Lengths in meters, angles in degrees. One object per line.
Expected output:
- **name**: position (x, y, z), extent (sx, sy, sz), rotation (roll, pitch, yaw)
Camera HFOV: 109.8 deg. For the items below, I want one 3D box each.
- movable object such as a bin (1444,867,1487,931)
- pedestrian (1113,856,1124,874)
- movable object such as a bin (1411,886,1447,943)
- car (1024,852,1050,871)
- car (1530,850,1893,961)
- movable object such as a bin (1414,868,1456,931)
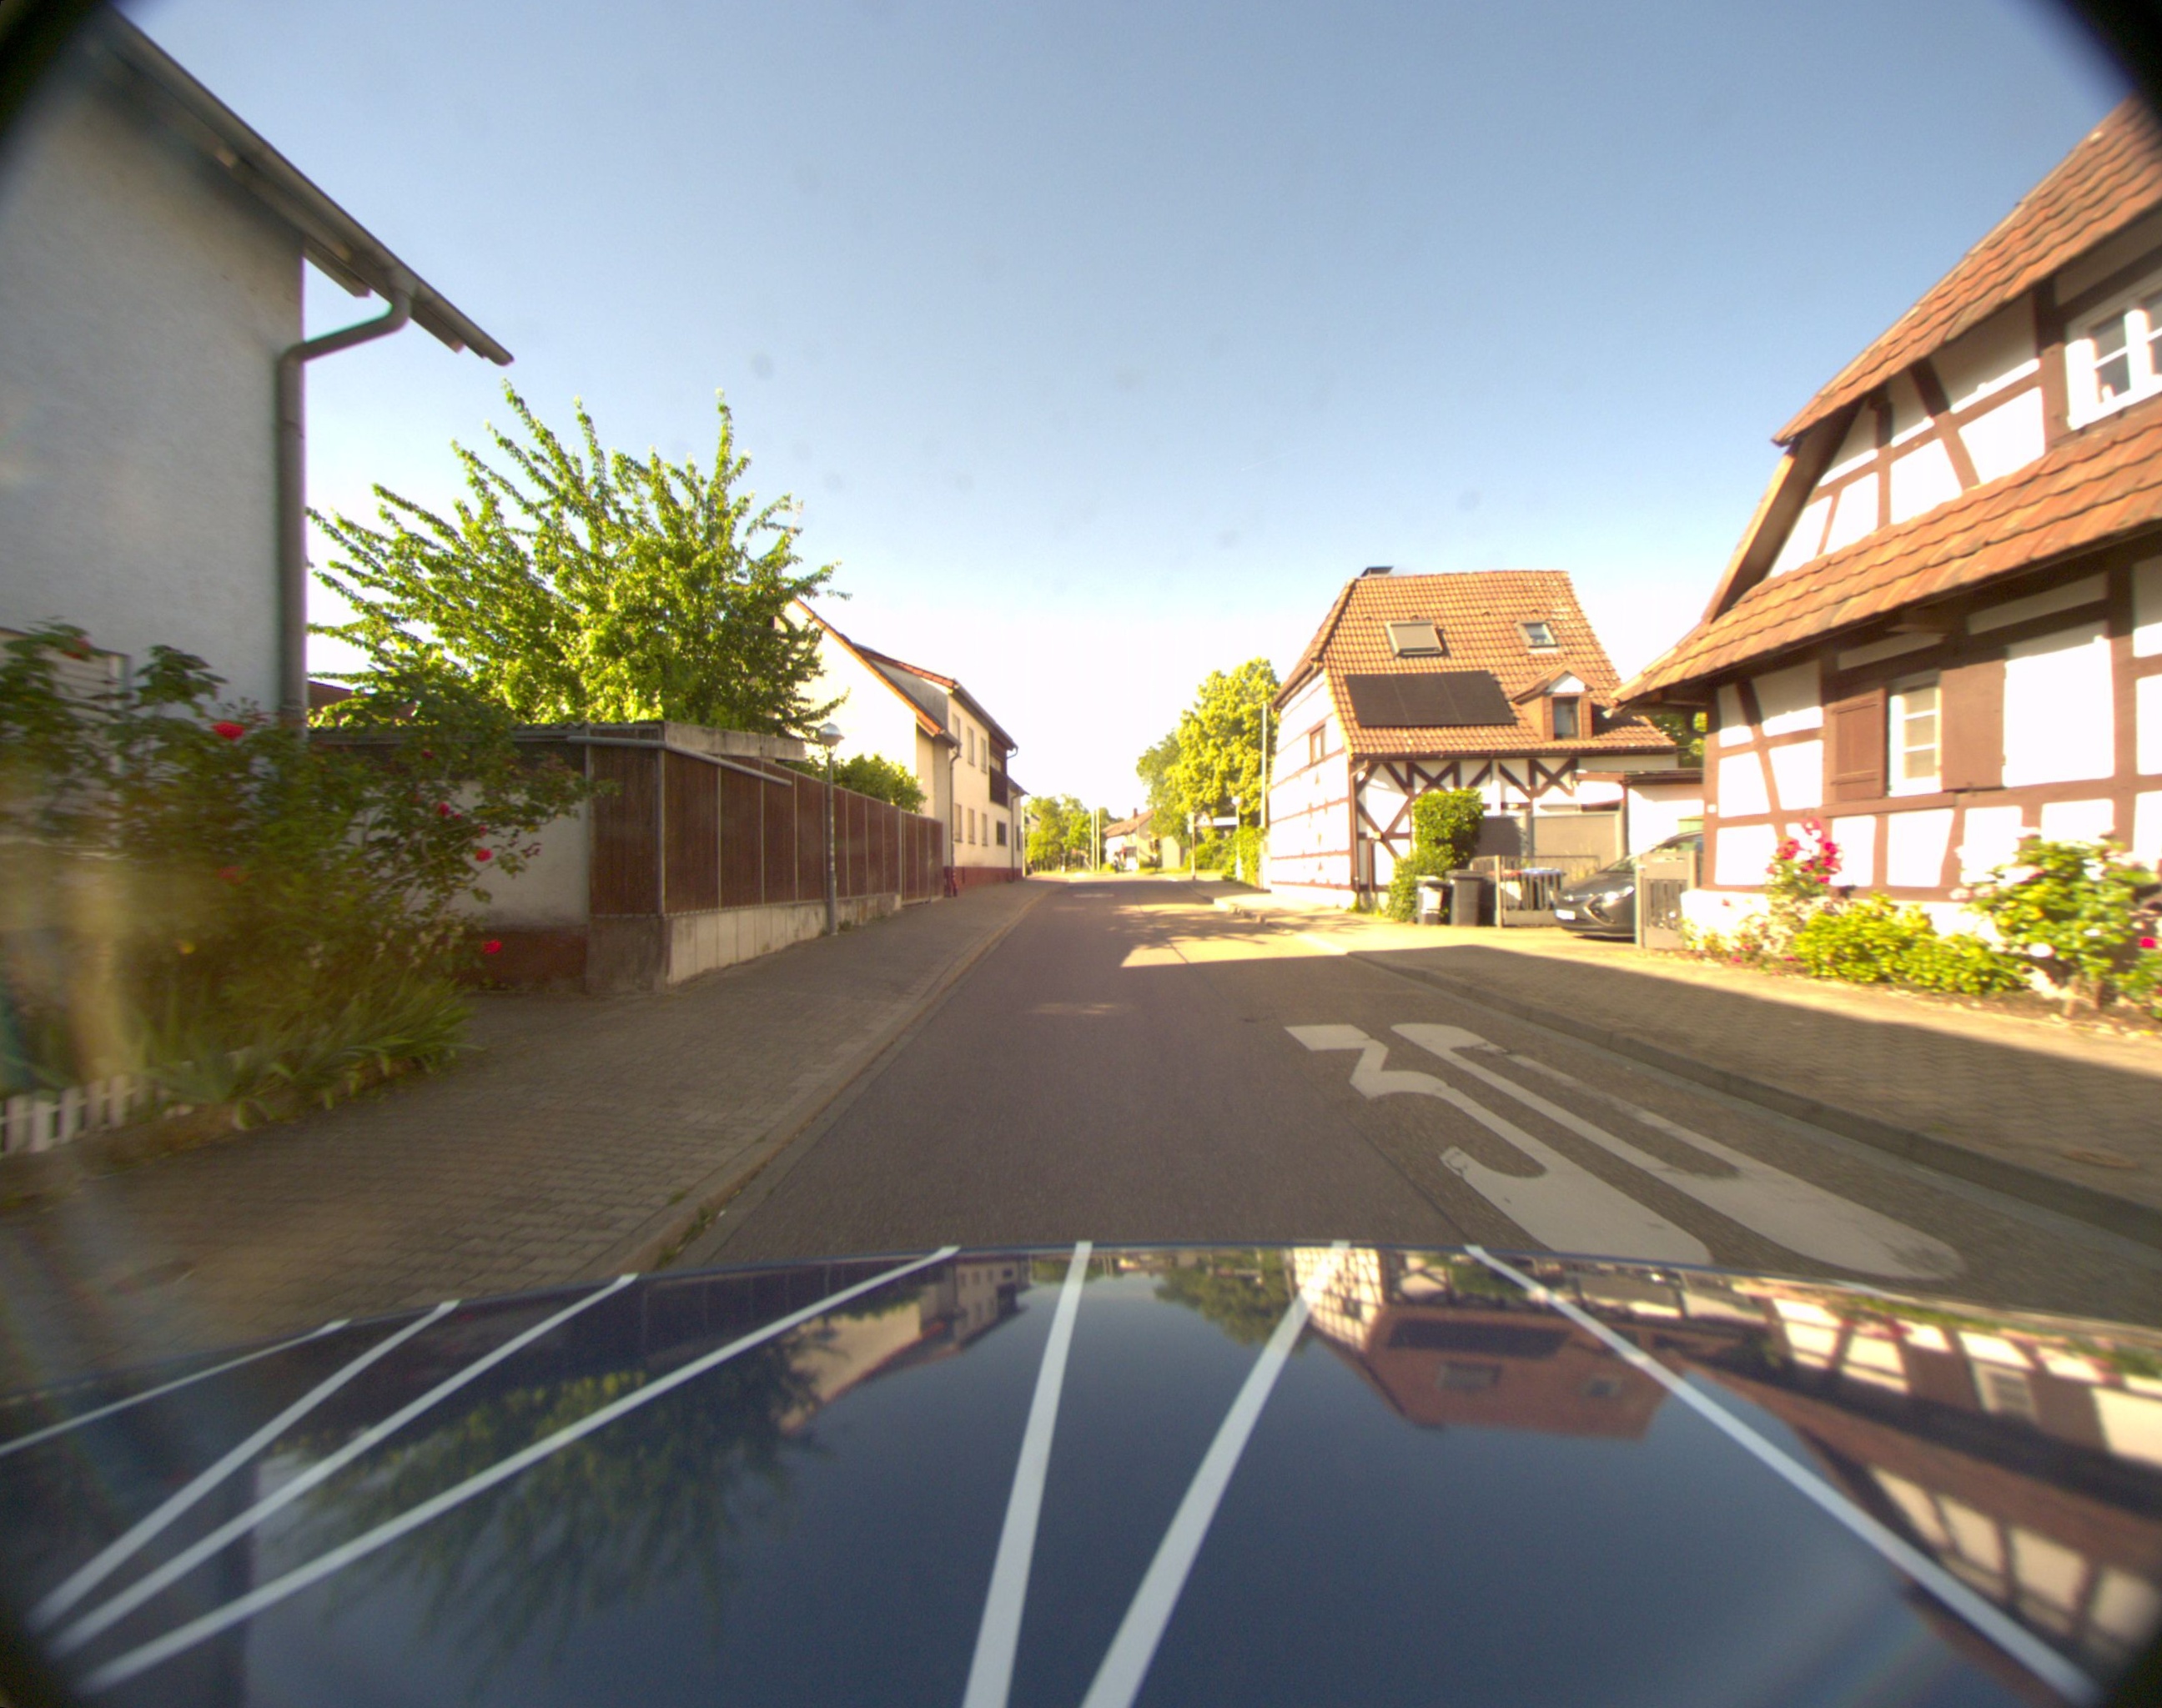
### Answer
- **movable object such as a bin**: position (7.181, 0.828, 14.201), extent (0.477, 1.134, 0.667), rotation (-1, 1, 2)
- **pedestrian**: position (3.717, 1.098, 75.764), extent (0.716, 1.793, 0.772), rotation (-2, 2, 30)
- **movable object such as a bin**: position (6.544, 1.131, 14.301), extent (0.423, 0.978, 0.592), rotation (-2, 3, 2)
- **car**: position (-4.762, 0.834, 81.713), extent (1.967, 1.908, 4.572), rotation (-1, 0, -14)
- **car**: position (9.641, 0.738, 11.910), extent (4.113, 1.583, 1.819), rotation (0, 1, 2)
- **movable object such as a bin**: position (6.612, 0.839, 14.215), extent (0.477, 1.134, 0.667), rotation (-1, 1, 2)
